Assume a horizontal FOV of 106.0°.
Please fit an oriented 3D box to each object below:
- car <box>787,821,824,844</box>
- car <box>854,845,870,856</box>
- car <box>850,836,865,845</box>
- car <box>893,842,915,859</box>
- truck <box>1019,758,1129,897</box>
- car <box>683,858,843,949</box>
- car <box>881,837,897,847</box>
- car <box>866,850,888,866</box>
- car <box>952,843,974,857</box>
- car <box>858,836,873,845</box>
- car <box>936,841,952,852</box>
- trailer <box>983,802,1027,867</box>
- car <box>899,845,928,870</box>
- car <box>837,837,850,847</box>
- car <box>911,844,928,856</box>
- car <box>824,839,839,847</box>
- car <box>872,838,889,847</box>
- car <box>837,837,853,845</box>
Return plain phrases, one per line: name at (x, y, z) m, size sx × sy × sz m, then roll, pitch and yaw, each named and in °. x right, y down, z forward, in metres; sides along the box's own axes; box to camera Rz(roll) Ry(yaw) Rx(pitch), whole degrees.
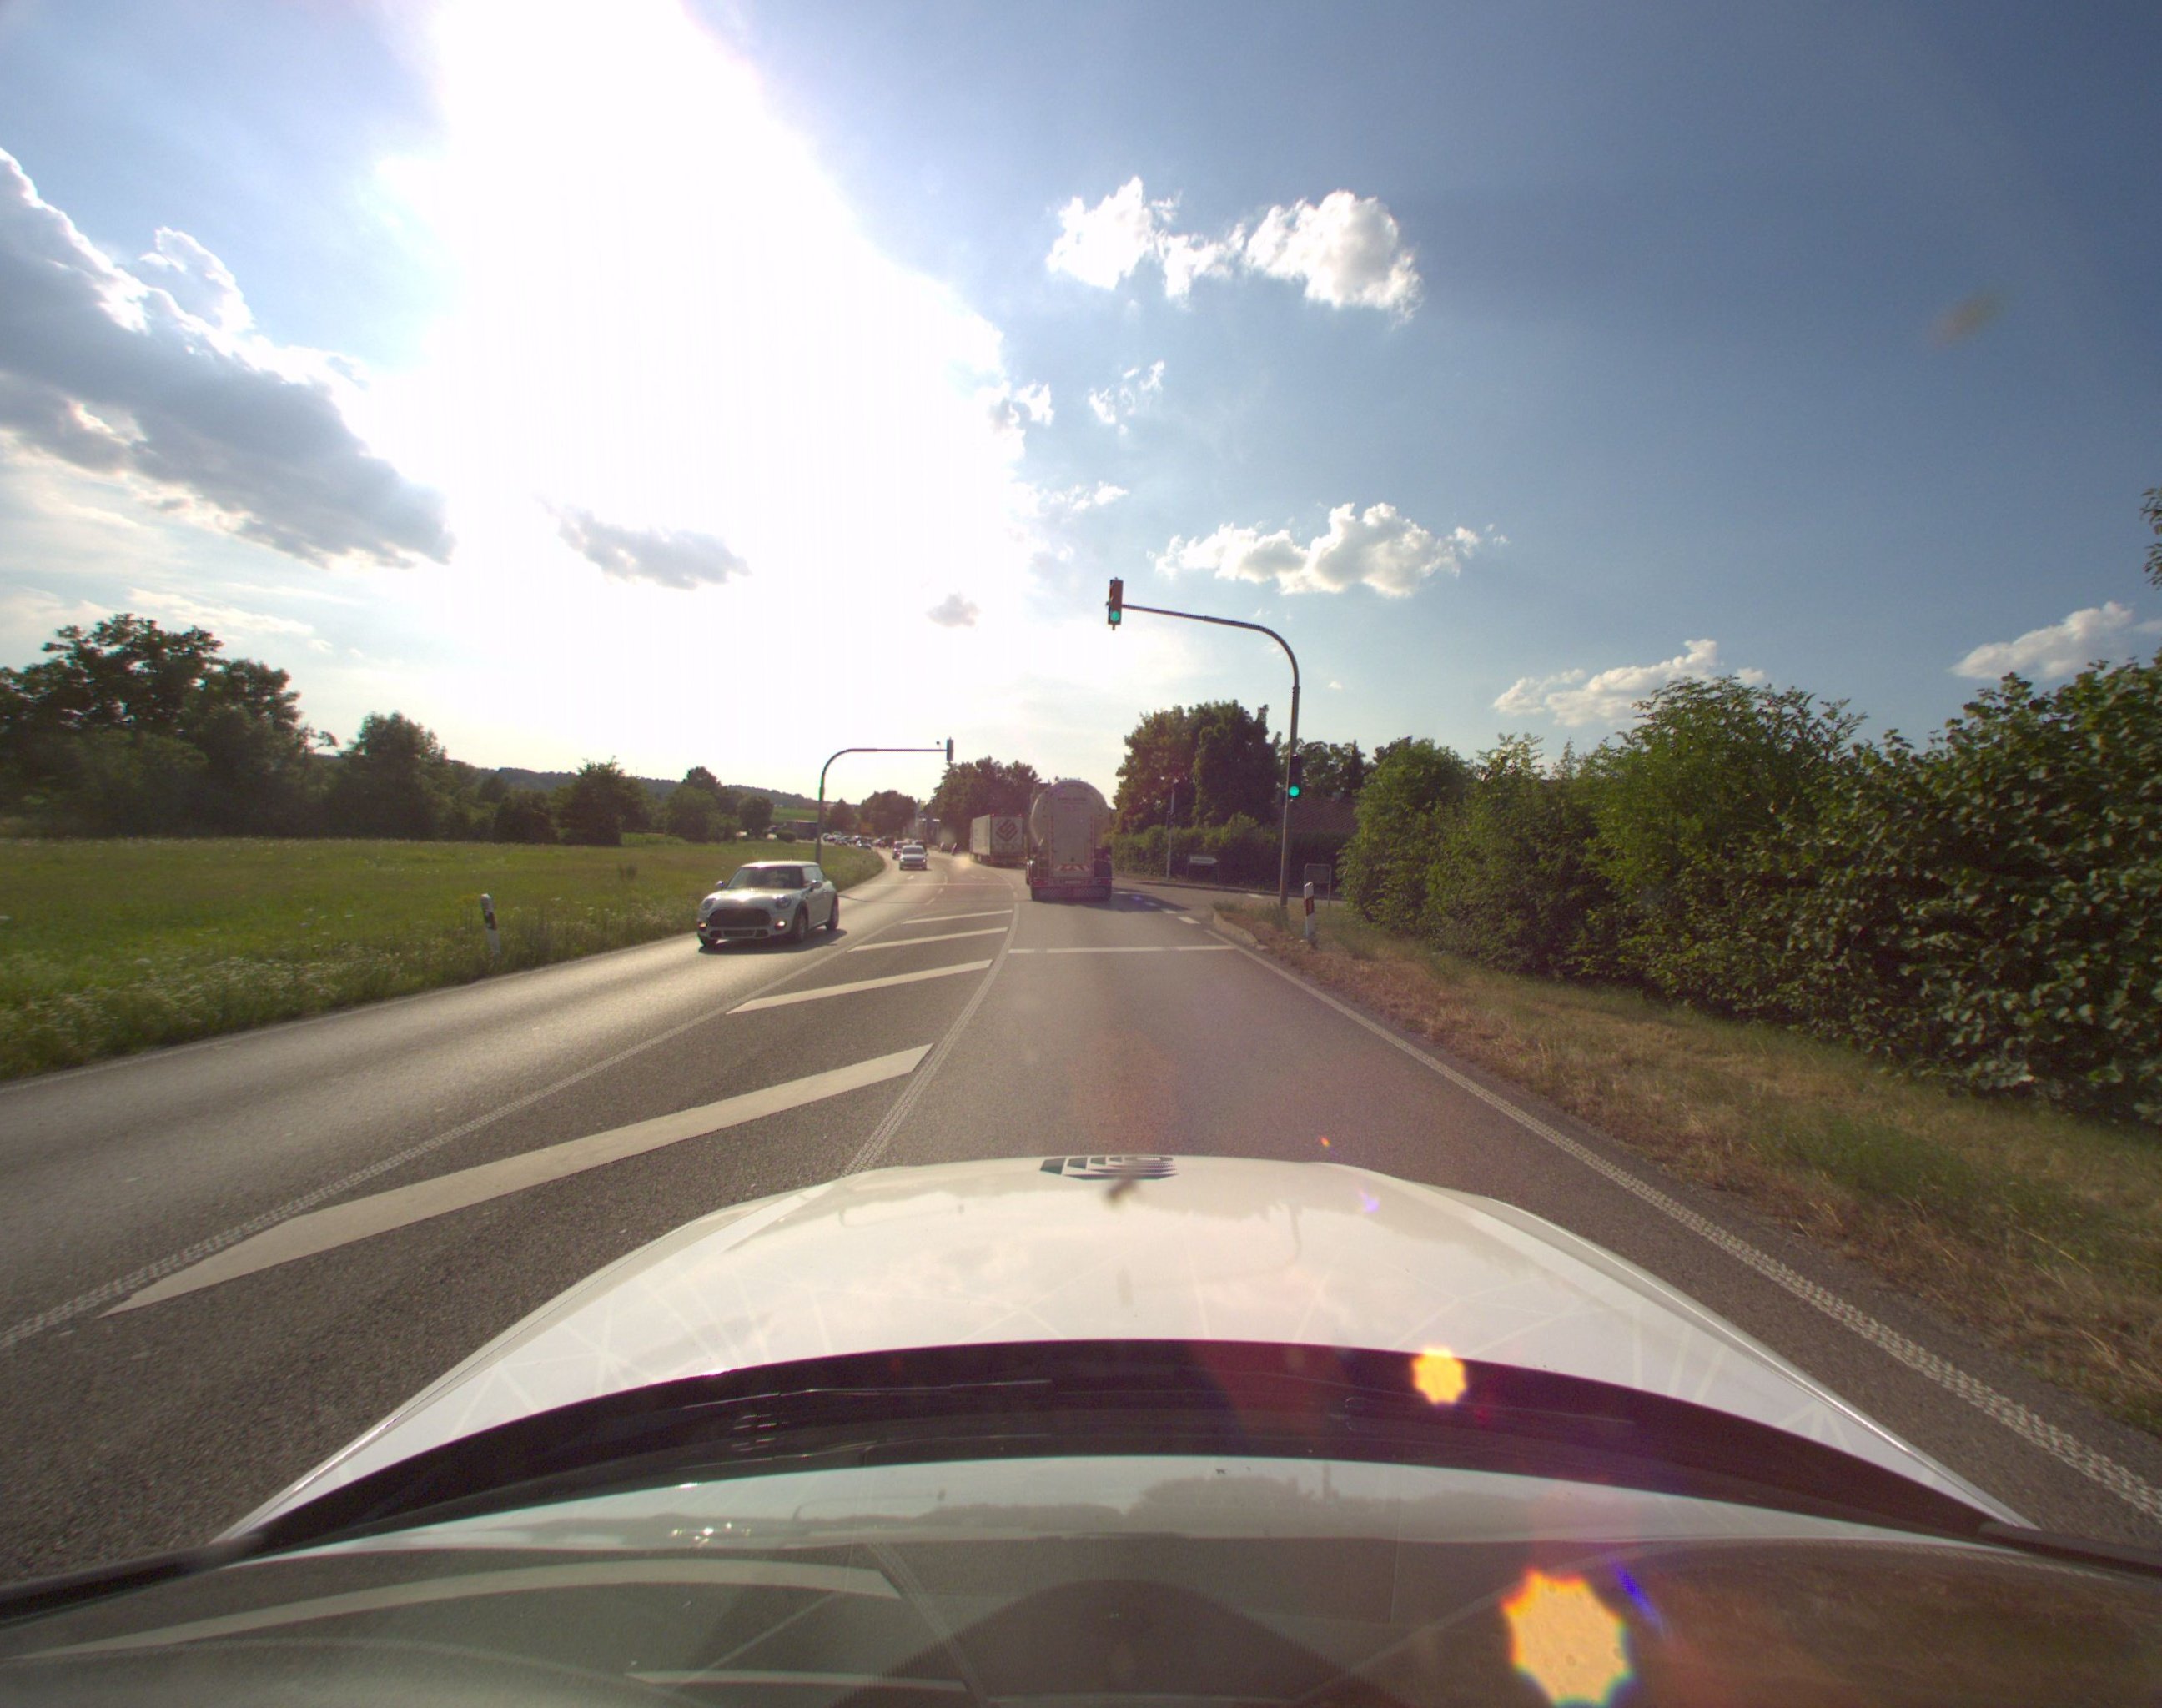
car at (-62.321, -4.788, 184.008) m, size 3.569 × 5.059 × 13.093 m, roll 1°, pitch 0°, yaw -38°
car at (-32.758, -0.490, 121.873) m, size 1.888 × 1.599 × 3.973 m, roll 1°, pitch 0°, yaw -20°
car at (-43.156, -2.609, 157.242) m, size 1.894 × 1.599 × 3.960 m, roll 1°, pitch 0°, yaw -32°
car at (-17.770, -0.334, 81.698) m, size 1.885 × 1.599 × 3.980 m, roll 1°, pitch 0°, yaw -15°
truck at (-0.644, -0.694, 30.482) m, size 2.972 × 4.176 × 11.636 m, roll 1°, pitch -1°, yaw -6°
car at (-5.726, 0.810, 15.159) m, size 1.717 × 1.436 × 3.743 m, roll -1°, pitch 0°, yaw -4°
car at (-32.728, -2.031, 138.608) m, size 1.891 × 1.599 × 3.967 m, roll 1°, pitch 0°, yaw -25°
car at (-21.836, 0.441, 87.278) m, size 1.888 × 1.599 × 3.974 m, roll 1°, pitch 0°, yaw -20°
car at (-15.001, -0.488, 103.412) m, size 1.999 × 1.656 × 3.974 m, roll 1°, pitch -1°, yaw -19°
car at (-40.119, -2.470, 151.696) m, size 1.892 × 1.599 × 3.965 m, roll 1°, pitch 0°, yaw -27°
car at (-19.959, -1.061, 118.834) m, size 1.689 × 1.468 × 3.974 m, roll 1°, pitch -1°, yaw -19°
trailer at (-6.349, -1.359, 66.667) m, size 2.962 × 4.882 × 10.258 m, roll 1°, pitch -1°, yaw -8°
car at (-11.440, 0.232, 55.438) m, size 1.884 × 1.599 × 3.983 m, roll 1°, pitch 0°, yaw -13°
car at (-41.229, -2.114, 141.528) m, size 1.888 × 1.599 × 3.973 m, roll 1°, pitch 0°, yaw -20°
car at (-23.469, -0.568, 118.082) m, size 1.888 × 1.599 × 3.973 m, roll 1°, pitch 0°, yaw -20°
car at (-51.835, -2.330, 169.148) m, size 1.894 × 1.599 × 3.960 m, roll 1°, pitch 0°, yaw -32°
car at (-35.924, -2.030, 145.689) m, size 2.097 × 1.599 × 3.964 m, roll 1°, pitch 0°, yaw -28°
car at (-47.663, -2.693, 164.328) m, size 1.895 × 1.599 × 3.958 m, roll 1°, pitch 0°, yaw -34°
